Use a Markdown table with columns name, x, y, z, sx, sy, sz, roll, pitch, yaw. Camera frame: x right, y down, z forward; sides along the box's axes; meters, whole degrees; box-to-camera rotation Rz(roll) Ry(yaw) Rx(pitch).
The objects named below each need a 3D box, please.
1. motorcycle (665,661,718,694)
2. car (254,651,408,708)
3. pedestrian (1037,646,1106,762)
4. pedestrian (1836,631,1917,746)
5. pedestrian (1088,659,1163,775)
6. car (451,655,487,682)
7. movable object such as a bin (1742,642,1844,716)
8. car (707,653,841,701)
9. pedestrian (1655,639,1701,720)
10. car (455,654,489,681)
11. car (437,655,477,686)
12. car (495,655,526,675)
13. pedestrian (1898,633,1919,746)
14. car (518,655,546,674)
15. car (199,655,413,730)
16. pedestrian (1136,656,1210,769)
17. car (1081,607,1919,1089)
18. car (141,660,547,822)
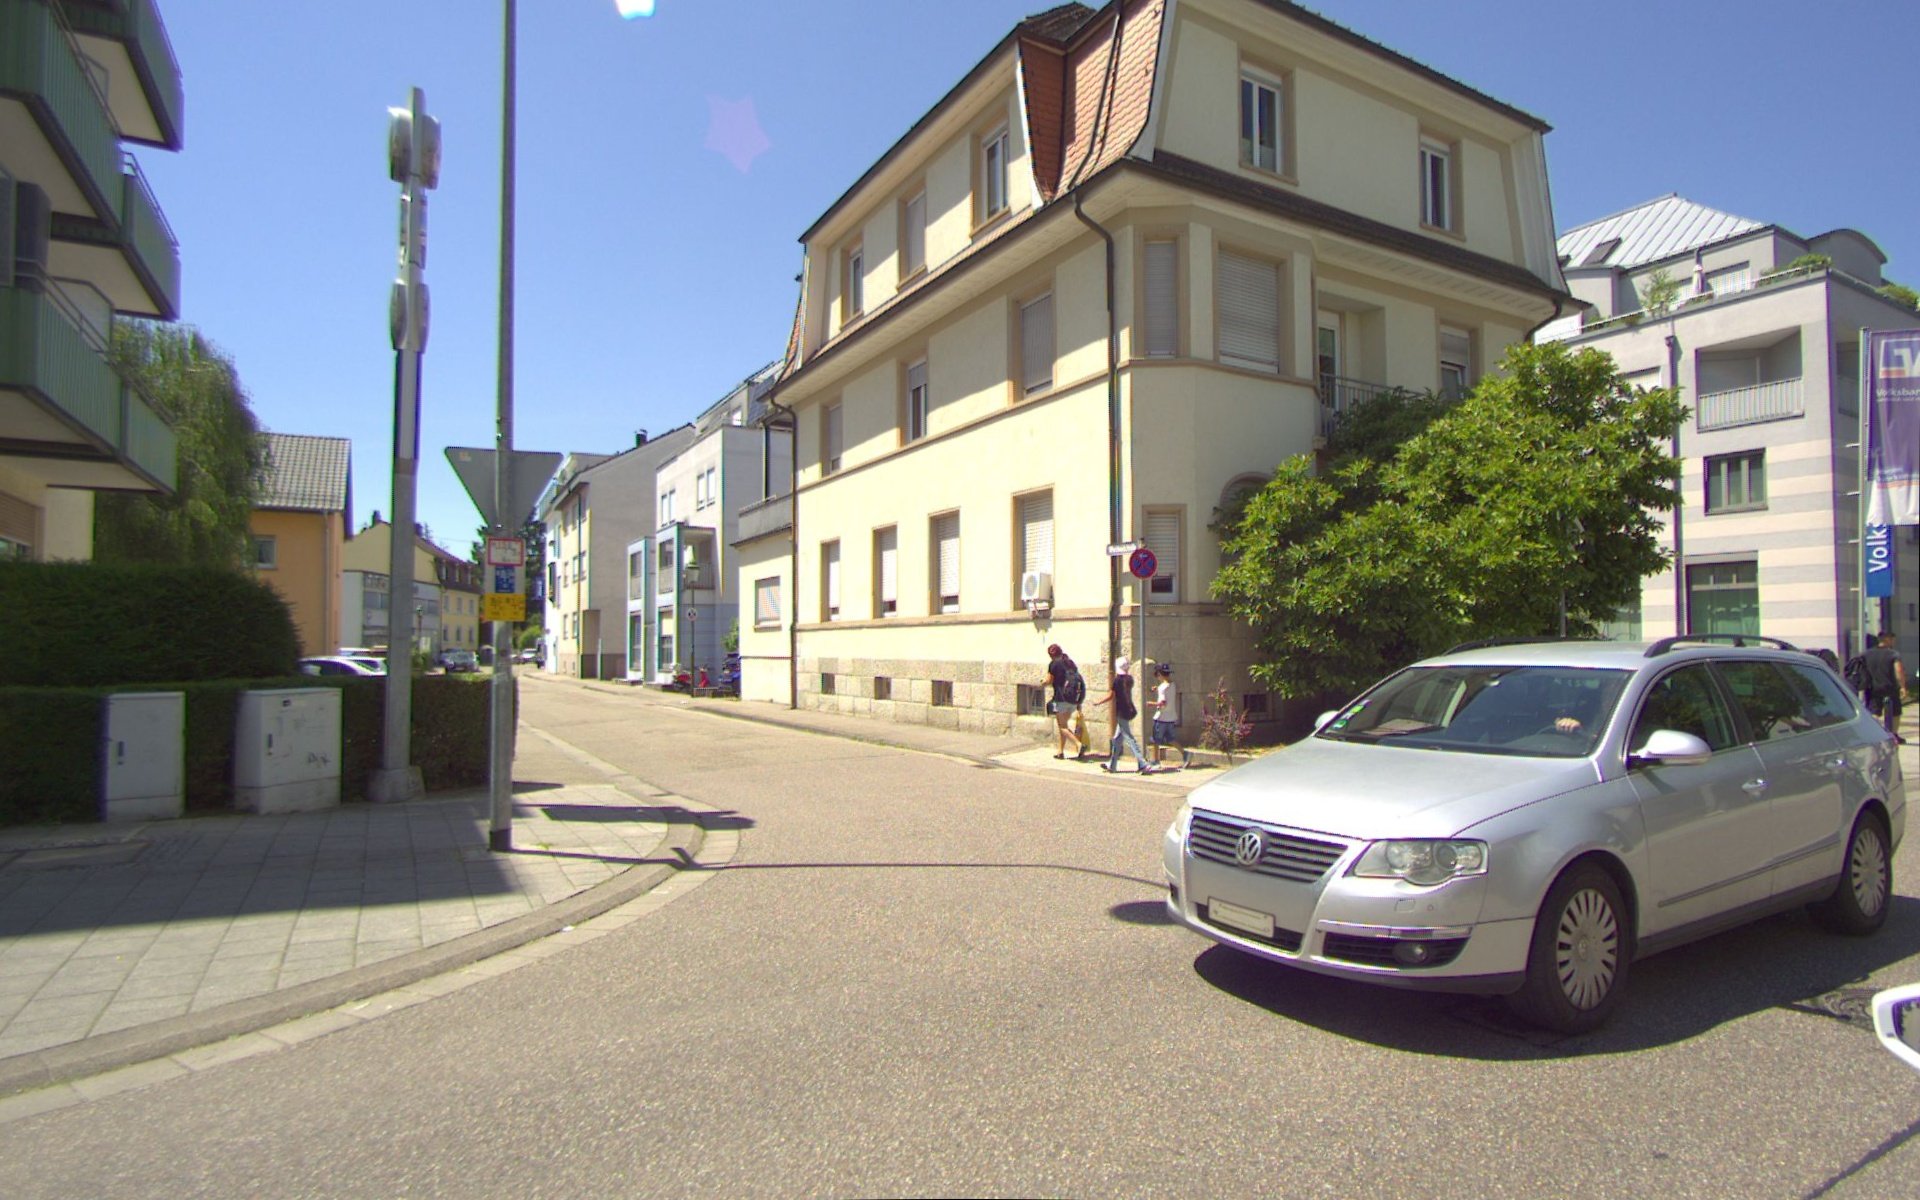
| name | x | y | z | sx | sy | sz | roll | pitch | yaw |
| --- | --- | --- | --- | --- | --- | --- | --- | --- | --- |
| motorcycle | -9.999 | 2.876 | 37.474 | 1.797 | 1.209 | 0.694 | 2 | -3 | -29 |
| car | -19.570 | 2.457 | 31.433 | 3.953 | 1.520 | 1.985 | -1 | -3 | -30 |
| pedestrian | 1.561 | 1.446 | 14.141 | 0.686 | 1.550 | 0.593 | -1 | -3 | -31 |
| pedestrian | 14.854 | 1.423 | 16.310 | 0.874 | 1.771 | 0.815 | 1 | -3 | 37 |
| pedestrian | 2.098 | 1.467 | 12.740 | 0.690 | 1.389 | 0.590 | 0 | -4 | -44 |
| car | -34.914 | 4.871 | 71.498 | 1.956 | 1.839 | 3.982 | -1 | -3 | -22 |
| movable object such as a bin | 18.347 | 1.728 | 22.126 | 1.283 | 1.514 | 1.349 | -1 | -3 | -34 |
| car | -6.012 | 2.464 | 32.626 | 3.921 | 1.455 | 1.762 | 2 | -3 | -32 |
| pedestrian | 15.099 | 1.655 | 21.116 | 0.671 | 1.644 | 0.711 | 0 | -3 | 44 |
| car | -36.813 | 5.106 | 75.871 | 1.956 | 1.839 | 3.982 | -1 | -3 | -22 |
| car | -33.119 | 4.643 | 66.274 | 1.956 | 1.839 | 3.982 | -1 | -3 | -22 |
| car | -43.614 | 6.308 | 97.523 | 1.951 | 1.839 | 3.991 | -2 | -3 | -13 |
| pedestrian | 15.056 | 1.392 | 15.487 | 0.950 | 1.712 | 0.628 | 4 | -2 | -30 |
| car | -44.822 | 6.764 | 105.227 | 1.951 | 1.839 | 3.991 | -2 | -3 | -13 |
| car | -15.904 | 2.228 | 24.699 | 4.245 | 1.520 | 1.985 | -1 | -3 | -31 |
| pedestrian | 2.773 | 1.445 | 13.065 | 0.689 | 1.389 | 0.591 | 0 | -3 | -42 |
| car | 3.109 | 0.903 | 5.278 | 4.741 | 1.528 | 1.940 | 2 | -4 | -31 |
| car | -7.364 | 1.601 | 12.389 | 3.953 | 1.520 | 1.985 | -1 | -3 | -30 |
